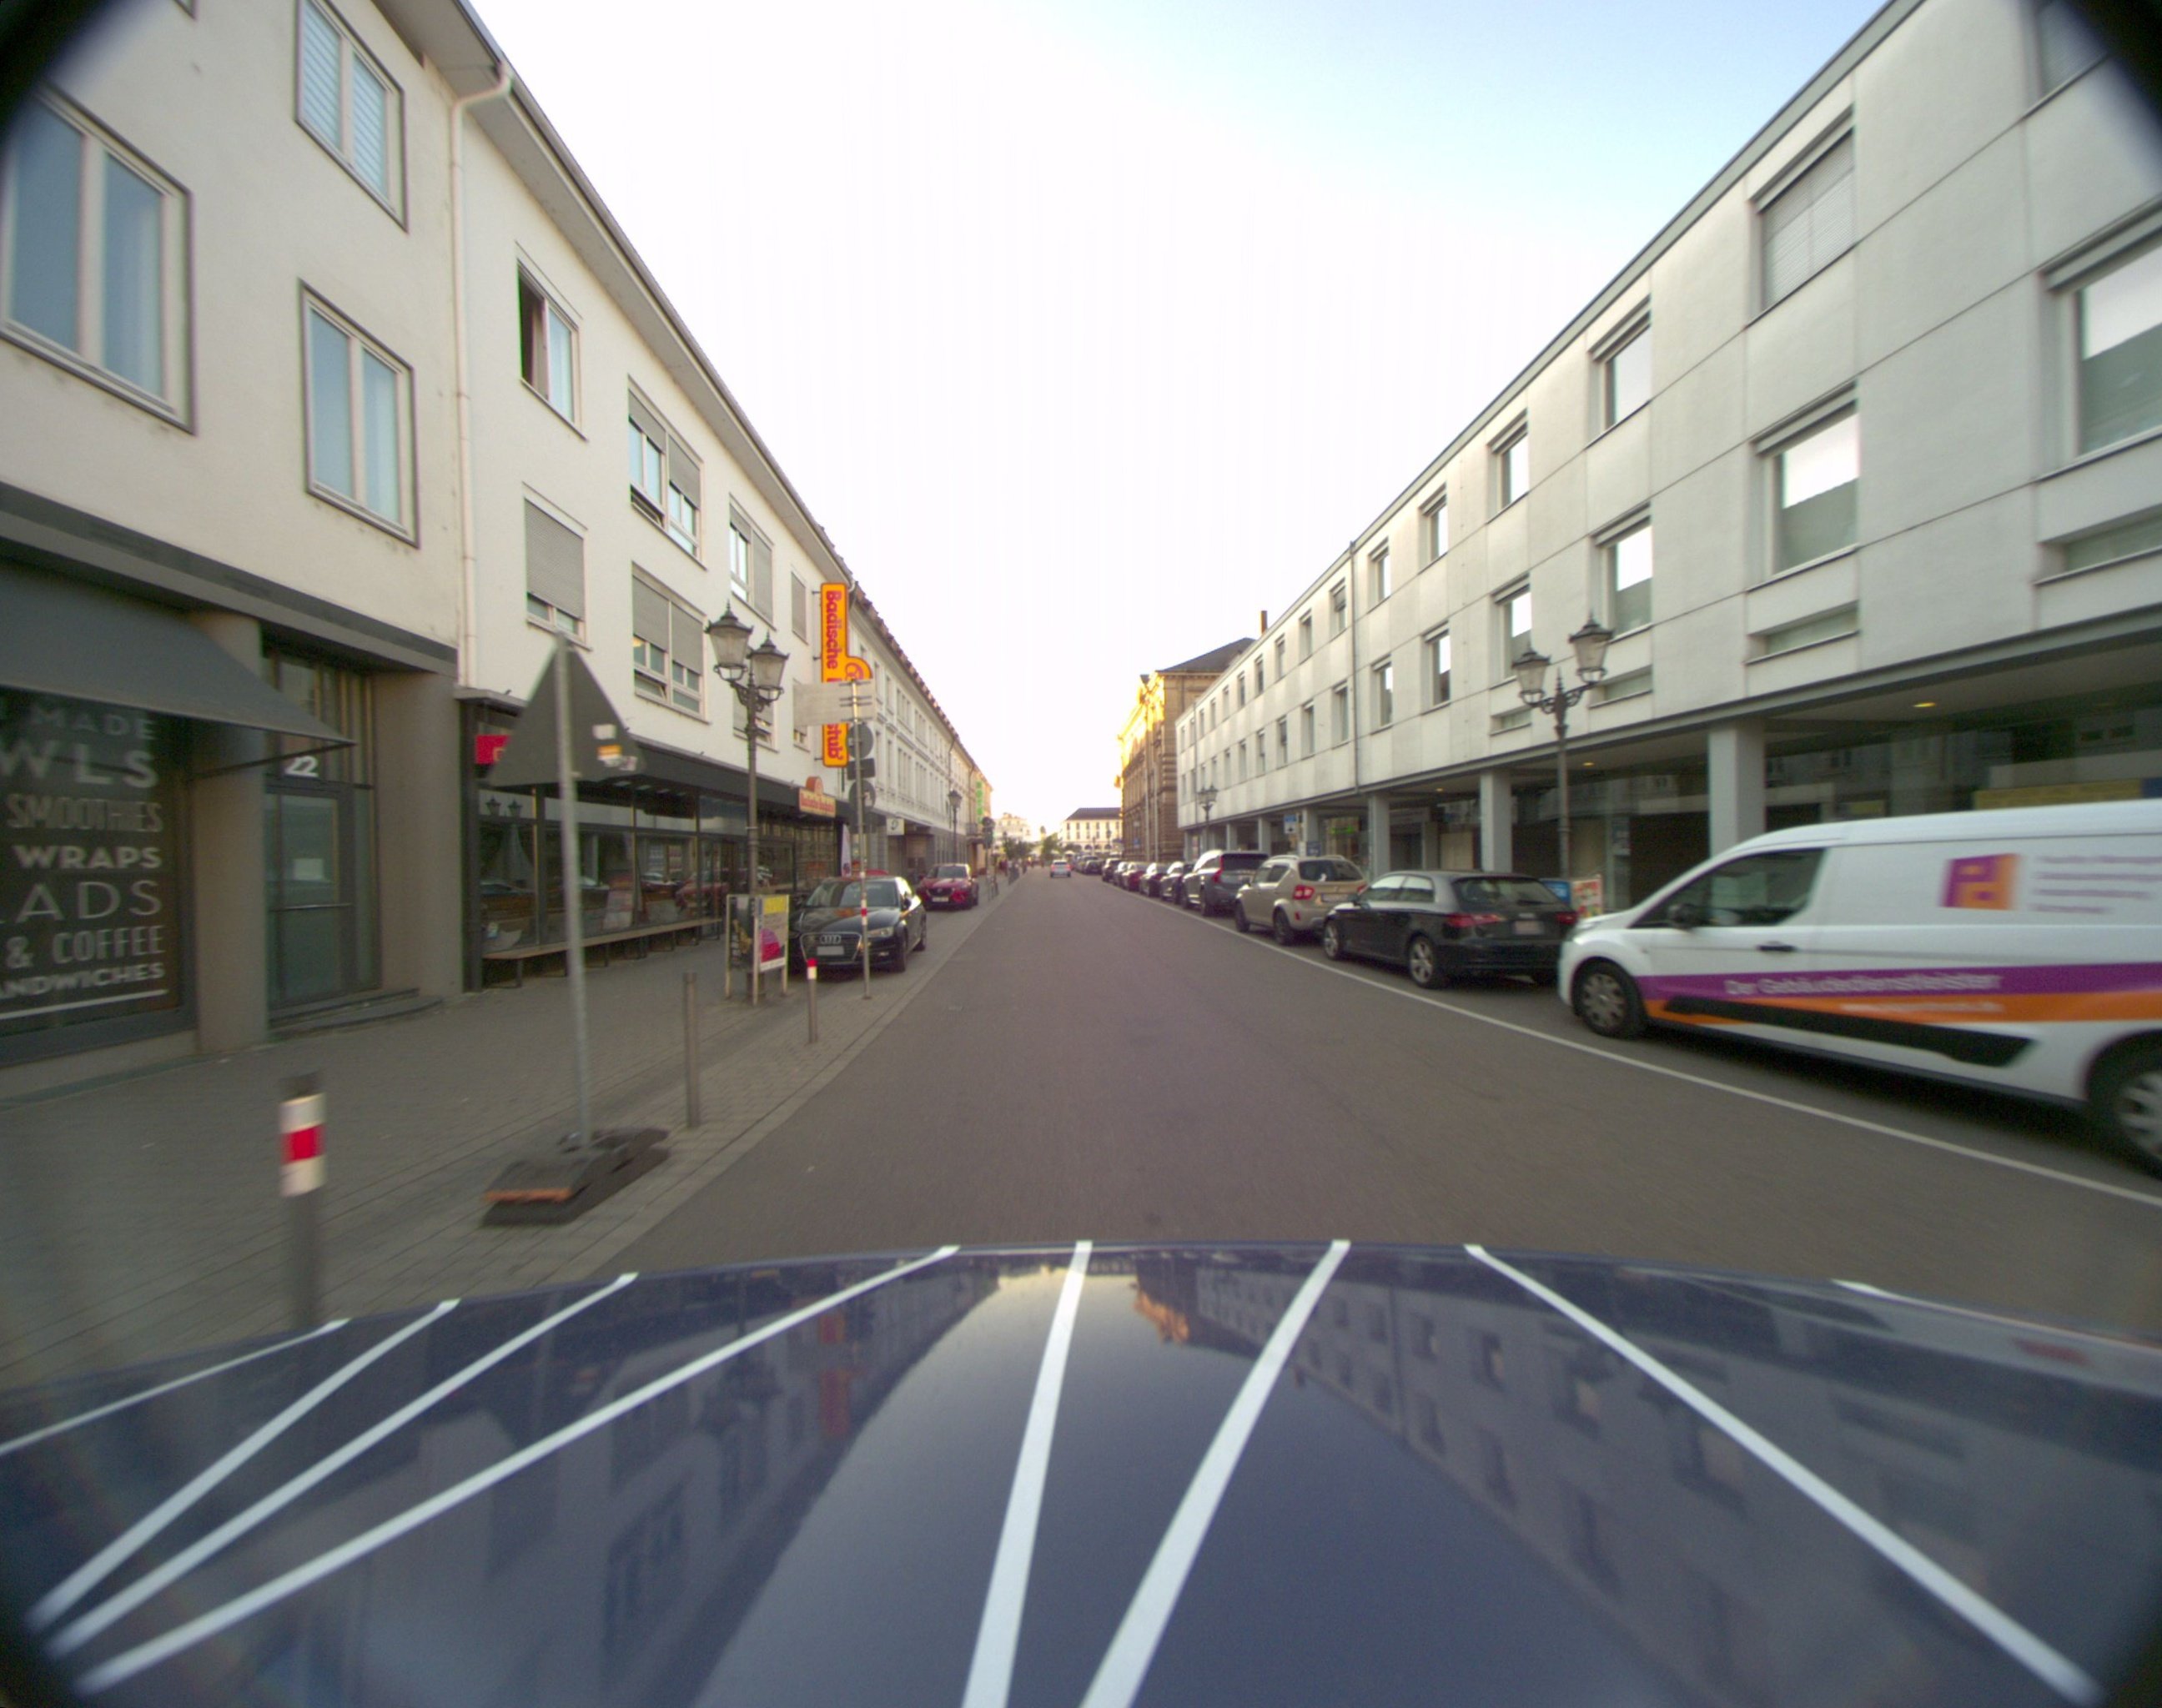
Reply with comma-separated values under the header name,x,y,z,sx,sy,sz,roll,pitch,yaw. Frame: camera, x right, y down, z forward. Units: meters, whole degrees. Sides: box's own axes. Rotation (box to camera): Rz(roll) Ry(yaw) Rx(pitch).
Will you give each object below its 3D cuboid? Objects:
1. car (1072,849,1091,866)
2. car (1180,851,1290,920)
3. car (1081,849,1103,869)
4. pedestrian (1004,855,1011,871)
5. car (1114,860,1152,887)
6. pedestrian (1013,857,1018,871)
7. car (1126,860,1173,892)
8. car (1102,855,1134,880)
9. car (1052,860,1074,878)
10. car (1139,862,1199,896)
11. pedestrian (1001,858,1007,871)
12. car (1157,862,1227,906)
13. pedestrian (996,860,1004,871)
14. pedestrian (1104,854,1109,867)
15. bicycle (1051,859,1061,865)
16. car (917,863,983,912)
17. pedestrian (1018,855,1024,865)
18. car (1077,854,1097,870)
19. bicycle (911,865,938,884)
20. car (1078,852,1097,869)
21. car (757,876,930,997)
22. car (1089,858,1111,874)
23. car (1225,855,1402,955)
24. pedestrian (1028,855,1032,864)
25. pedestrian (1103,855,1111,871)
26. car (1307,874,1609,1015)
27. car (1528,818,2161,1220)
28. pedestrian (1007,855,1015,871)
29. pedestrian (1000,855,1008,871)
name,x,y,z,sx,sy,sz,roll,pitch,yaw
car,0.034,0.491,100.739,1.999,2.158,5.204,-2,0,-5
car,4.128,0.788,21.186,1.999,1.718,4.515,0,0,-2
car,1.196,0.504,82.052,1.999,2.065,4.987,-1,1,-3
pedestrian,-8.021,0.970,83.329,0.622,1.779,0.913,-1,0,1
car,2.969,1.082,43.950,1.790,1.400,4.087,-1,0,-2
pedestrian,-7.883,1.216,91.469,0.609,1.720,0.558,-1,0,-1
car,3.342,1.047,37.676,1.790,1.400,4.087,-1,0,-2
car,2.405,0.859,50.722,1.790,1.605,4.165,-1,0,-2
car,-1.584,1.262,65.057,1.769,1.413,3.998,0,0,-4
car,3.693,1.036,32.552,1.999,1.346,3.999,0,0,-2
pedestrian,-9.208,1.250,90.960,0.631,1.591,0.615,-1,0,-1
car,3.817,0.985,26.770,1.678,1.392,3.999,-1,0,-3
pedestrian,-10.280,1.438,96.289,0.777,1.351,0.723,-2,0,-19
pedestrian,3.292,0.884,99.025,0.609,1.720,0.703,-1,0,-1
bicycle,-4.741,1.485,143.116,1.683,1.115,0.846,-1,0,32
car,-4.470,1.109,26.344,1.764,1.514,3.676,1,0,-2
pedestrian,-10.498,1.039,133.091,0.607,1.720,0.719,-1,1,40
car,0.660,0.930,88.223,1.999,1.742,4.988,-1,0,-3
bicycle,-10.176,1.334,49.564,1.661,1.245,0.439,-1,0,-5
car,0.788,0.790,93.806,1.999,2.075,5.205,-1,0,-2
car,-3.562,1.157,12.162,1.807,1.455,4.115,-1,0,-5
car,1.861,1.137,75.503,1.999,1.486,4.163,-1,0,-2
car,4.319,0.862,14.861,1.999,1.652,3.998,-1,0,-4
pedestrian,-8.908,0.934,133.616,0.684,1.557,0.652,-1,0,-5
pedestrian,2.983,1.038,86.468,0.715,1.720,0.896,-4,0,-1
car,4.623,1.004,10.109,1.683,1.345,4.103,-2,0,-5
car,5.586,0.724,4.922,2.000,1.805,4.780,-2,0,-10
pedestrian,-7.796,0.977,84.712,0.749,1.720,0.881,-1,0,3
pedestrian,-8.558,0.974,84.439,0.715,1.720,0.873,-1,0,0
